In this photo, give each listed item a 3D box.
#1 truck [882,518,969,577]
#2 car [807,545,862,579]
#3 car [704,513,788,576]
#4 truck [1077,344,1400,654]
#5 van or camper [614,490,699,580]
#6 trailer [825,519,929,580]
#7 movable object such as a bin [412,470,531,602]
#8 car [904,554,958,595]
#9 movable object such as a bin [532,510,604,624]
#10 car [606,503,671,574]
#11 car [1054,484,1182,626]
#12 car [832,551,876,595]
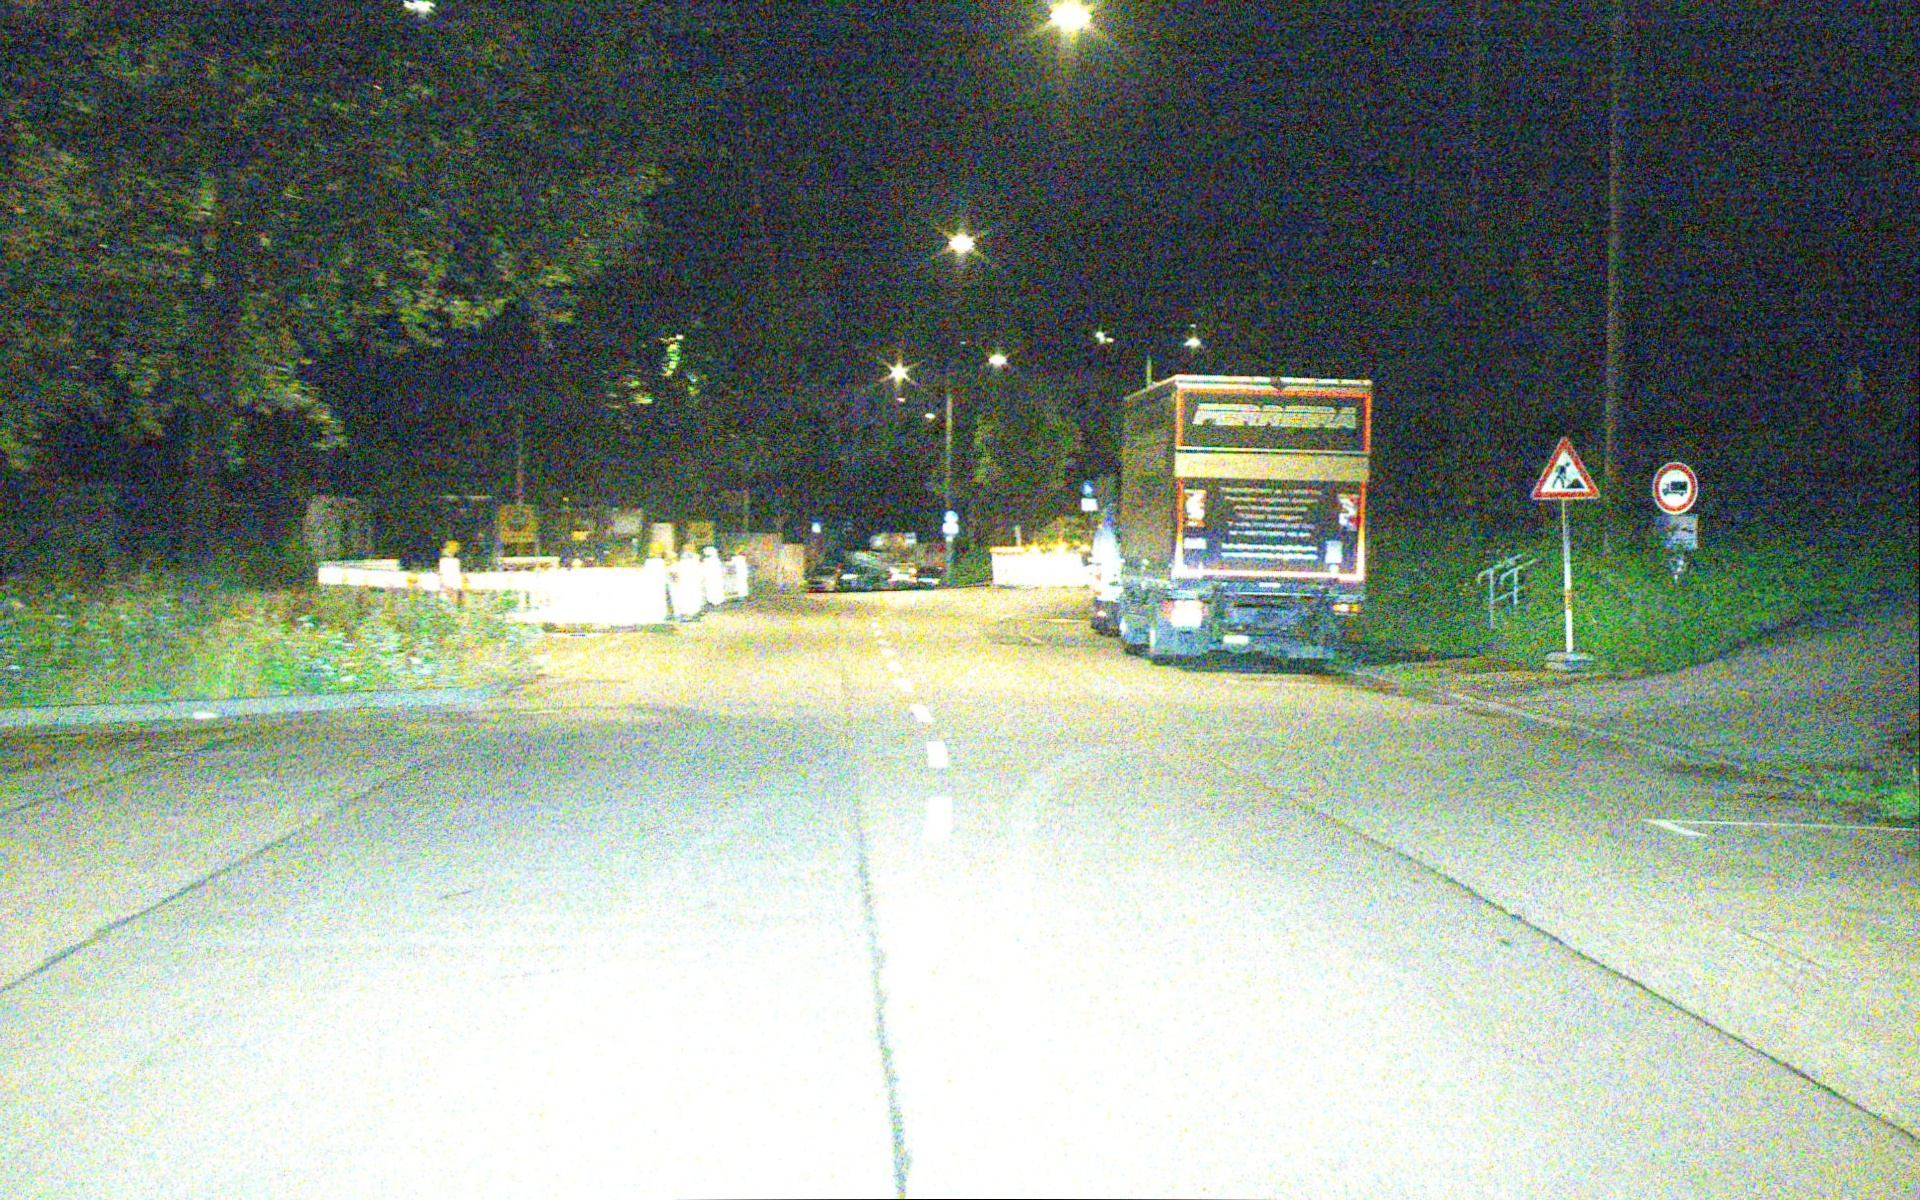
[{"bbox_3d":[-2.076,-3.208,212.090,1.996,3.392,8.969,3,1,22],"label":"truck"},{"bbox_3d":[-7.042,-2.110,193.427,1.995,1.694,4.203,2,-1,13],"label":"car"},{"bbox_3d":[-11.007,-2.825,177.505,2.520,3.160,7.134,0,0,12],"label":"car"},{"bbox_3d":[3.752,-1.317,48.956,3.324,3.855,9.328,3,0,-2],"label":"truck"},{"bbox_3d":[-10.799,-2.273,122.890,2.519,3.084,7.445,0,0,-1],"label":"van or camper"},{"bbox_3d":[-3.071,-1.828,126.212,1.559,2.153,5.222,0,0,-29],"label":"trailer"},{"bbox_3d":[-9.362,-1.203,65.756,1.548,2.459,2.840,1,0,-23],"label":"movable object such as a bin"},{"bbox_3d":[-1.416,-1.246,169.616,1.722,1.815,3.997,2,-1,13],"label":"car"},{"bbox_3d":[-9.731,-0.845,85.213,1.570,2.725,3.702,-1,1,-9],"label":"movable object such as a bin"},{"bbox_3d":[-13.740,-2.588,147.451,2.518,2.917,7.202,0,0,-3],"label":"car"},{"bbox_3d":[2.996,-0.874,66.422,2.108,2.507,6.371,3,1,0],"label":"car"},{"bbox_3d":[-4.342,-1.097,141.033,1.720,1.655,4.000,3,-1,-2],"label":"car"}]
